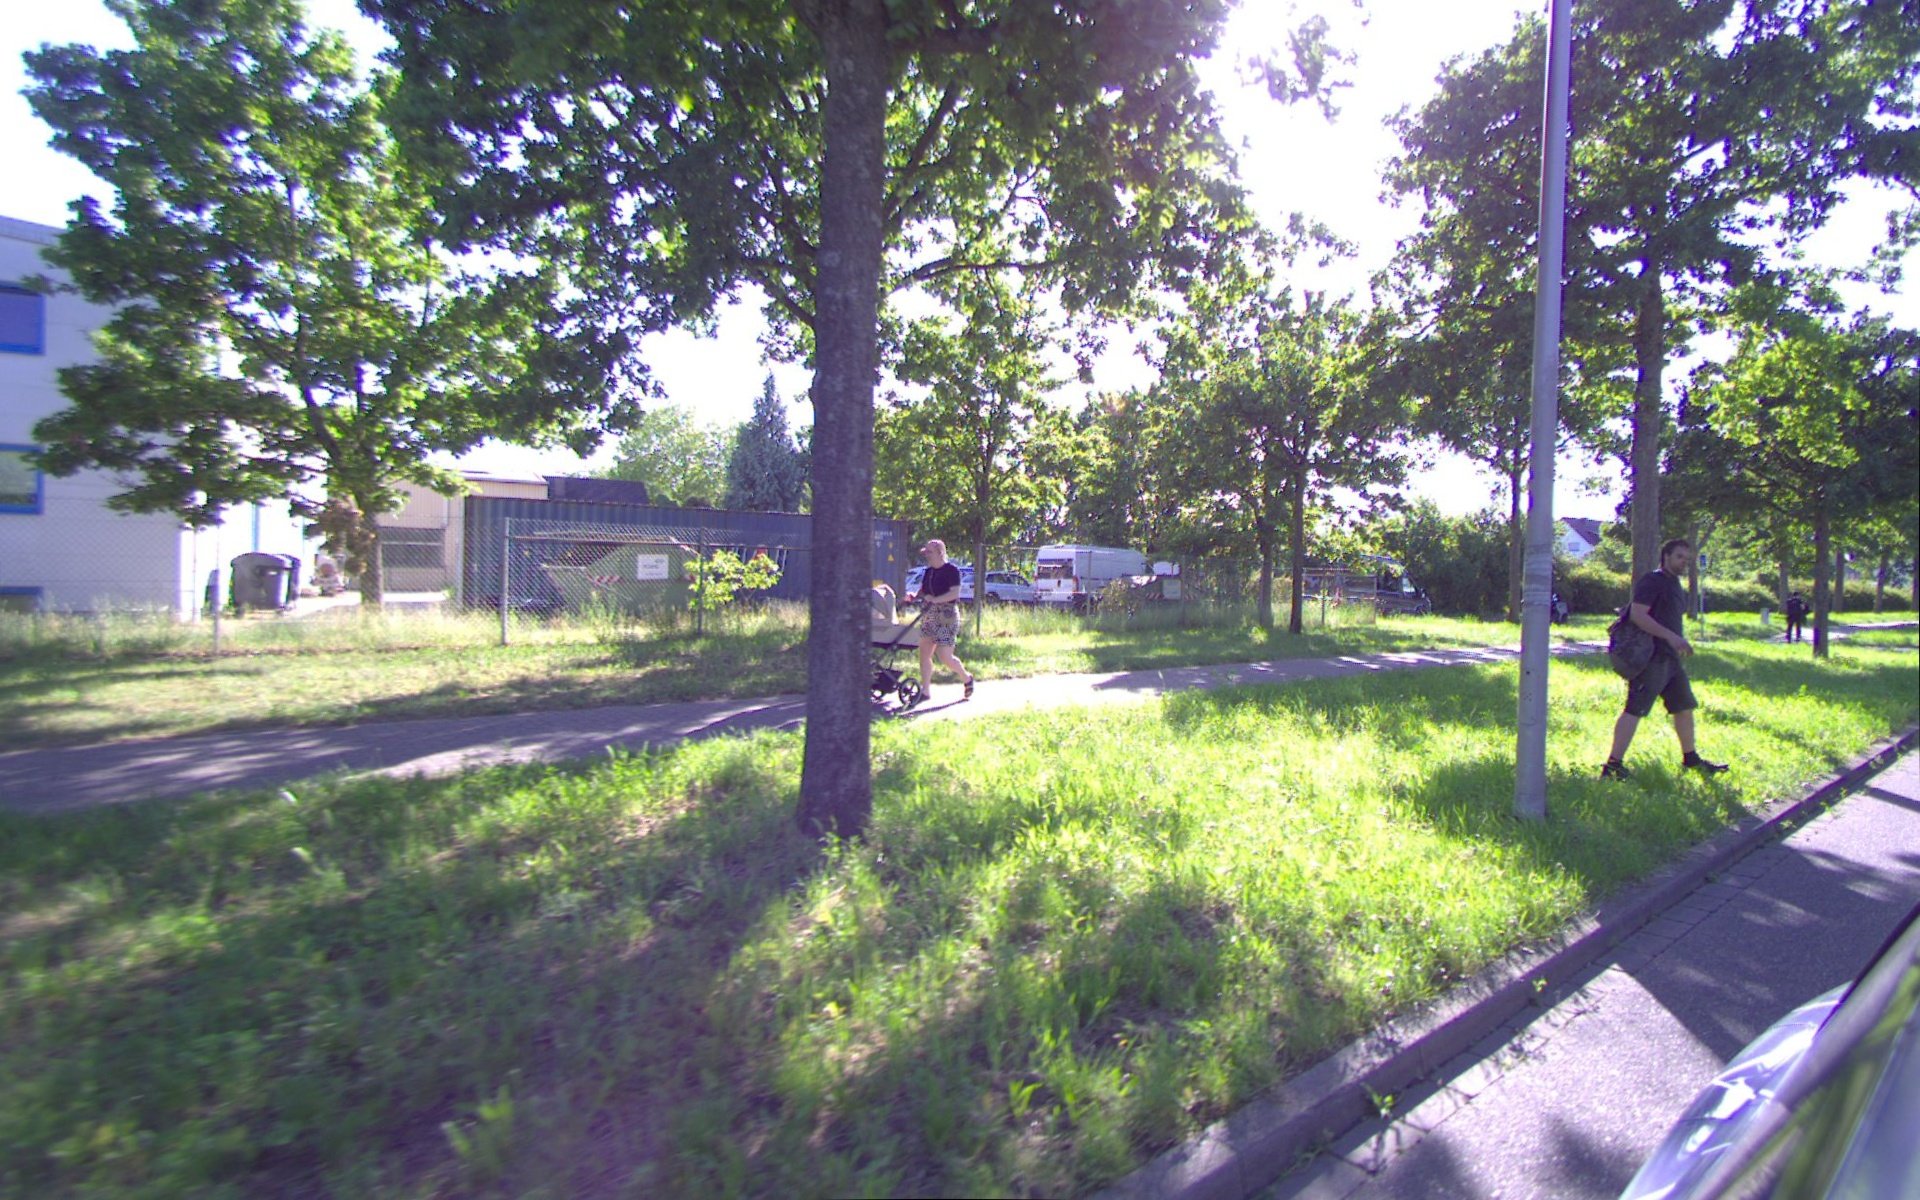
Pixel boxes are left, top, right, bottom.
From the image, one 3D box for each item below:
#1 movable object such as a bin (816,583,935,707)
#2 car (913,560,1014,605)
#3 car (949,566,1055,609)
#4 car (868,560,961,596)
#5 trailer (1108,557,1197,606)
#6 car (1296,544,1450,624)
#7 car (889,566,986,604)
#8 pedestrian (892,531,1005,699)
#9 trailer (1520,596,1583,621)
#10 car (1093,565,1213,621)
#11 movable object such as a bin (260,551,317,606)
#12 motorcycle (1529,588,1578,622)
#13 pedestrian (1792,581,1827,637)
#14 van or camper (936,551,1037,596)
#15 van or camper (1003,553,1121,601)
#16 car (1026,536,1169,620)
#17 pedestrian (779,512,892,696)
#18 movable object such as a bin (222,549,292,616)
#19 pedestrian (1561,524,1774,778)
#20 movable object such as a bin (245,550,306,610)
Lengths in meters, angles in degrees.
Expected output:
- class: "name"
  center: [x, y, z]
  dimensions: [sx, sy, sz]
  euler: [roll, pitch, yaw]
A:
- class: "movable object such as a bin"
  center: [-0.817, 0.404, 9.788]
  dimensions: [0.852, 1.094, 0.727]
  euler: [0, 3, -41]
- class: "car"
  center: [0.156, -0.773, 44.260]
  dimensions: [3.922, 1.846, 2.002]
  euler: [1, 2, -33]
- class: "car"
  center: [1.711, -0.516, 41.392]
  dimensions: [3.915, 1.660, 1.845]
  euler: [1, 1, -19]
- class: "car"
  center: [-2.154, -1.042, 48.272]
  dimensions: [3.922, 1.612, 2.002]
  euler: [1, 2, -33]
- class: "trailer"
  center: [9.426, -0.904, 49.649]
  dimensions: [3.712, 2.336, 2.200]
  euler: [0, 2, -28]
- class: "car"
  center: [15.671, -0.558, 38.311]
  dimensions: [5.849, 2.599, 2.094]
  euler: [4, -2, -28]
- class: "car"
  center: [-1.024, -0.671, 46.209]
  dimensions: [3.922, 1.612, 2.002]
  euler: [1, 2, -33]
- class: "pedestrian"
  center: [-0.118, 0.131, 10.327]
  dimensions: [0.852, 1.623, 0.727]
  euler: [0, 1, -41]
- class: "trailer"
  center: [26.036, 0.349, 44.580]
  dimensions: [2.013, 0.878, 1.586]
  euler: [-4, 4, -28]
- class: "car"
  center: [6.222, -0.234, 32.487]
  dimensions: [3.533, 1.685, 2.010]
  euler: [0, 2, -40]
- class: "movable object such as a bin"
  center: [-17.891, -0.579, 26.990]
  dimensions: [1.037, 1.424, 1.191]
  euler: [1, 1, -23]
- class: "motorcycle"
  center: [25.073, 0.183, 42.746]
  dimensions: [2.359, 1.246, 0.666]
  euler: [-4, 4, -29]
- class: "pedestrian"
  center: [28.720, 0.281, 34.204]
  dimensions: [0.852, 1.835, 0.727]
  euler: [0, 2, -41]
- class: "van or camper"
  center: [1.641, -1.609, 61.855]
  dimensions: [5.798, 2.606, 2.191]
  euler: [0, 1, -28]
- class: "van or camper"
  center: [5.909, -1.300, 58.497]
  dimensions: [6.640, 2.606, 2.191]
  euler: [0, 1, -28]
- class: "car"
  center: [4.762, -0.733, 34.706]
  dimensions: [4.765, 2.676, 2.165]
  euler: [0, 2, -40]
- class: "pedestrian"
  center: [-1.276, 0.026, 10.361]
  dimensions: [0.852, 1.777, 0.727]
  euler: [0, 1, -41]
- class: "movable object such as a bin"
  center: [-15.523, -0.391, 22.372]
  dimensions: [1.037, 1.424, 1.191]
  euler: [1, 1, -23]
- class: "pedestrian"
  center: [5.074, 0.311, 7.367]
  dimensions: [1.089, 1.672, 1.013]
  euler: [2, 1, 28]
- class: "movable object such as a bin"
  center: [-16.864, -0.490, 24.963]
  dimensions: [1.037, 1.424, 1.191]
  euler: [1, 1, -23]
